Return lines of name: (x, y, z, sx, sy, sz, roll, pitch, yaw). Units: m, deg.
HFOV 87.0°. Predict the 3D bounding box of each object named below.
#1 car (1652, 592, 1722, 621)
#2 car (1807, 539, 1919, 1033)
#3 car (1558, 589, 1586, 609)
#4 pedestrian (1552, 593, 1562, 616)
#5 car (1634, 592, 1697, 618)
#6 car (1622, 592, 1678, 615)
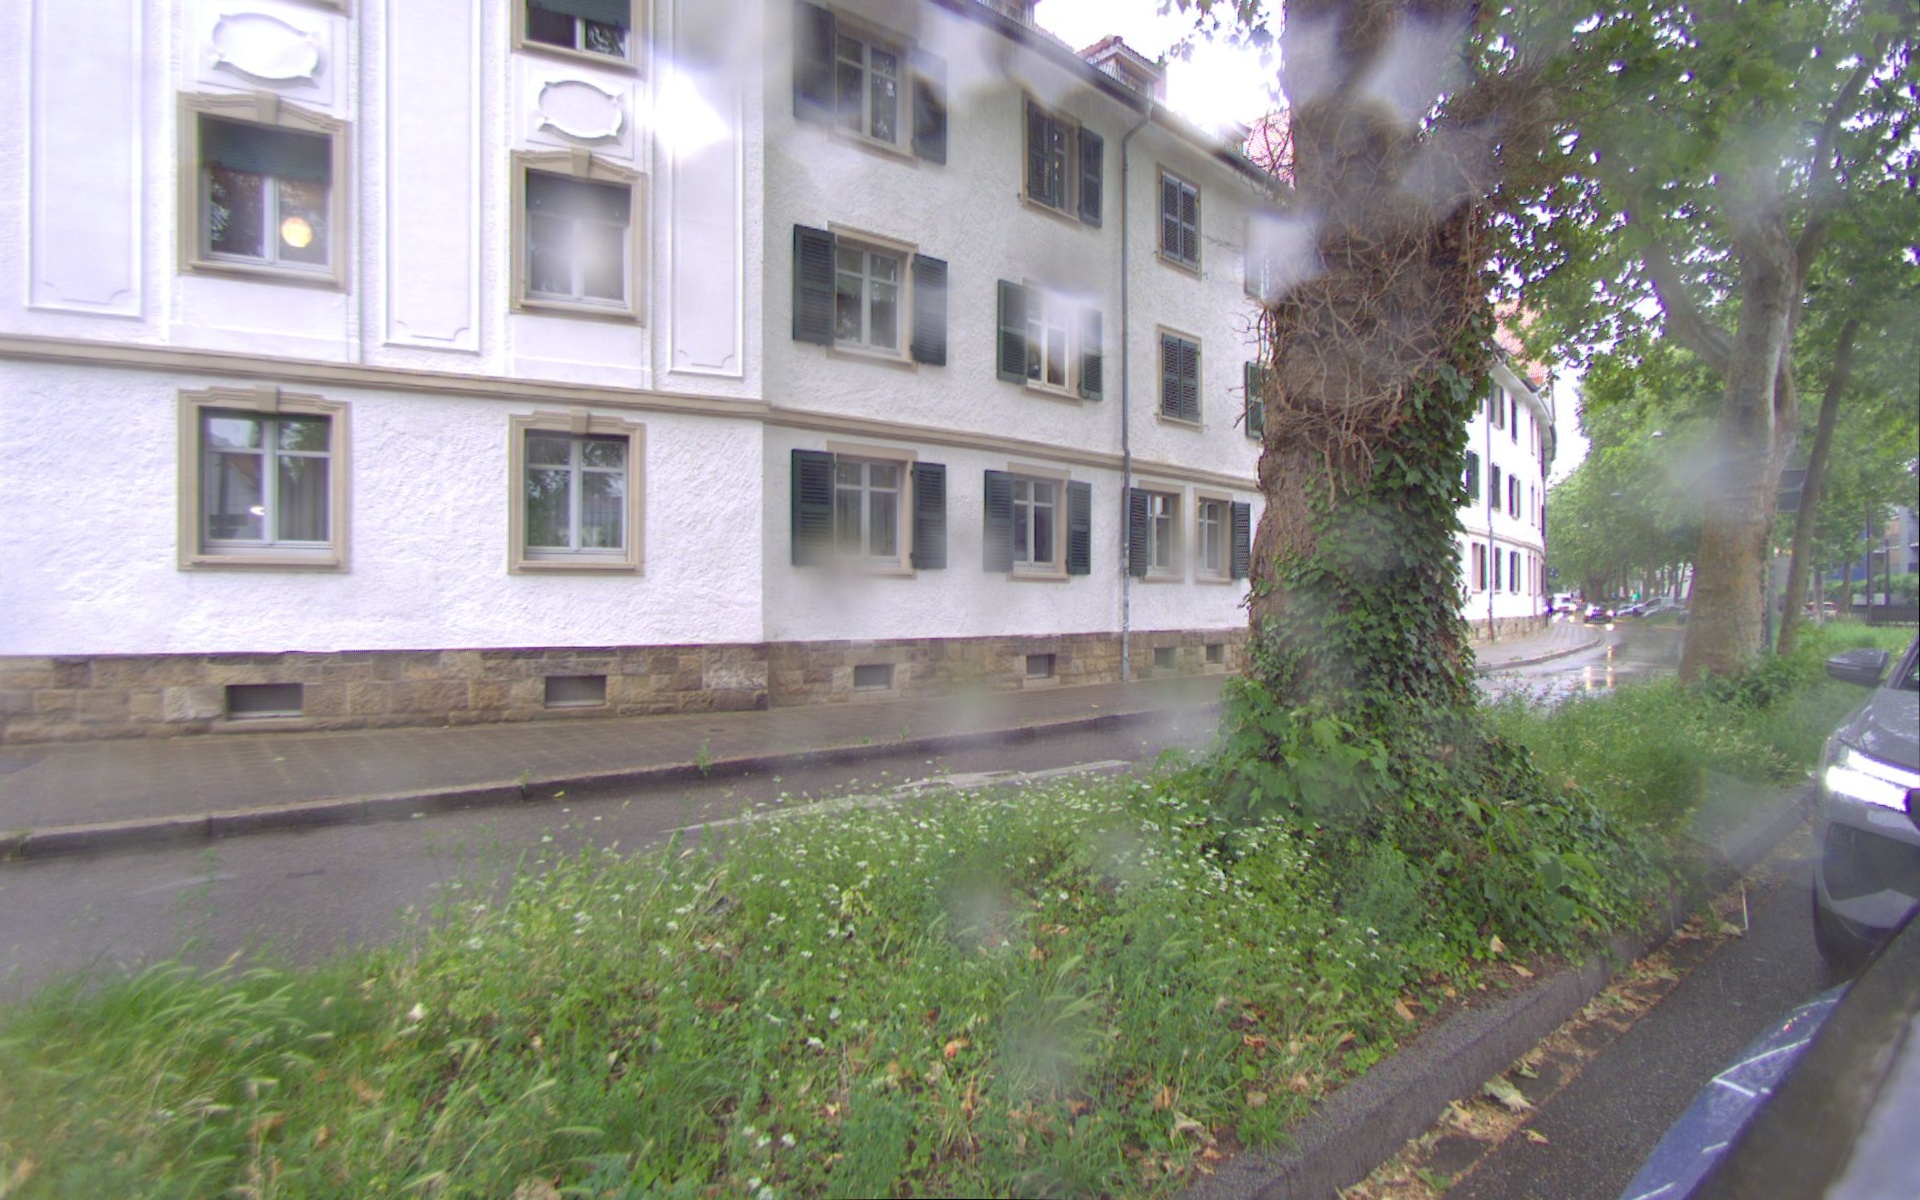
car: (52.646, 0.474, 73.387, 3.969, 2.039, 1.977, 0, -1, 32)
car: (5.142, 0.615, 4.311, 4.039, 1.662, 1.913, 0, 0, -44)
car: (72.502, -0.087, 119.964, 2.173, 2.292, 5.366, 0, 0, 24)
pedestrian: (47.811, 0.341, 81.001, 0.668, 1.845, 0.672, 0, 0, 31)
car: (55.913, 0.390, 80.292, 3.969, 2.039, 1.977, 0, -1, 32)
car: (60.776, 0.290, 89.275, 3.969, 2.039, 1.977, 0, -1, 32)
